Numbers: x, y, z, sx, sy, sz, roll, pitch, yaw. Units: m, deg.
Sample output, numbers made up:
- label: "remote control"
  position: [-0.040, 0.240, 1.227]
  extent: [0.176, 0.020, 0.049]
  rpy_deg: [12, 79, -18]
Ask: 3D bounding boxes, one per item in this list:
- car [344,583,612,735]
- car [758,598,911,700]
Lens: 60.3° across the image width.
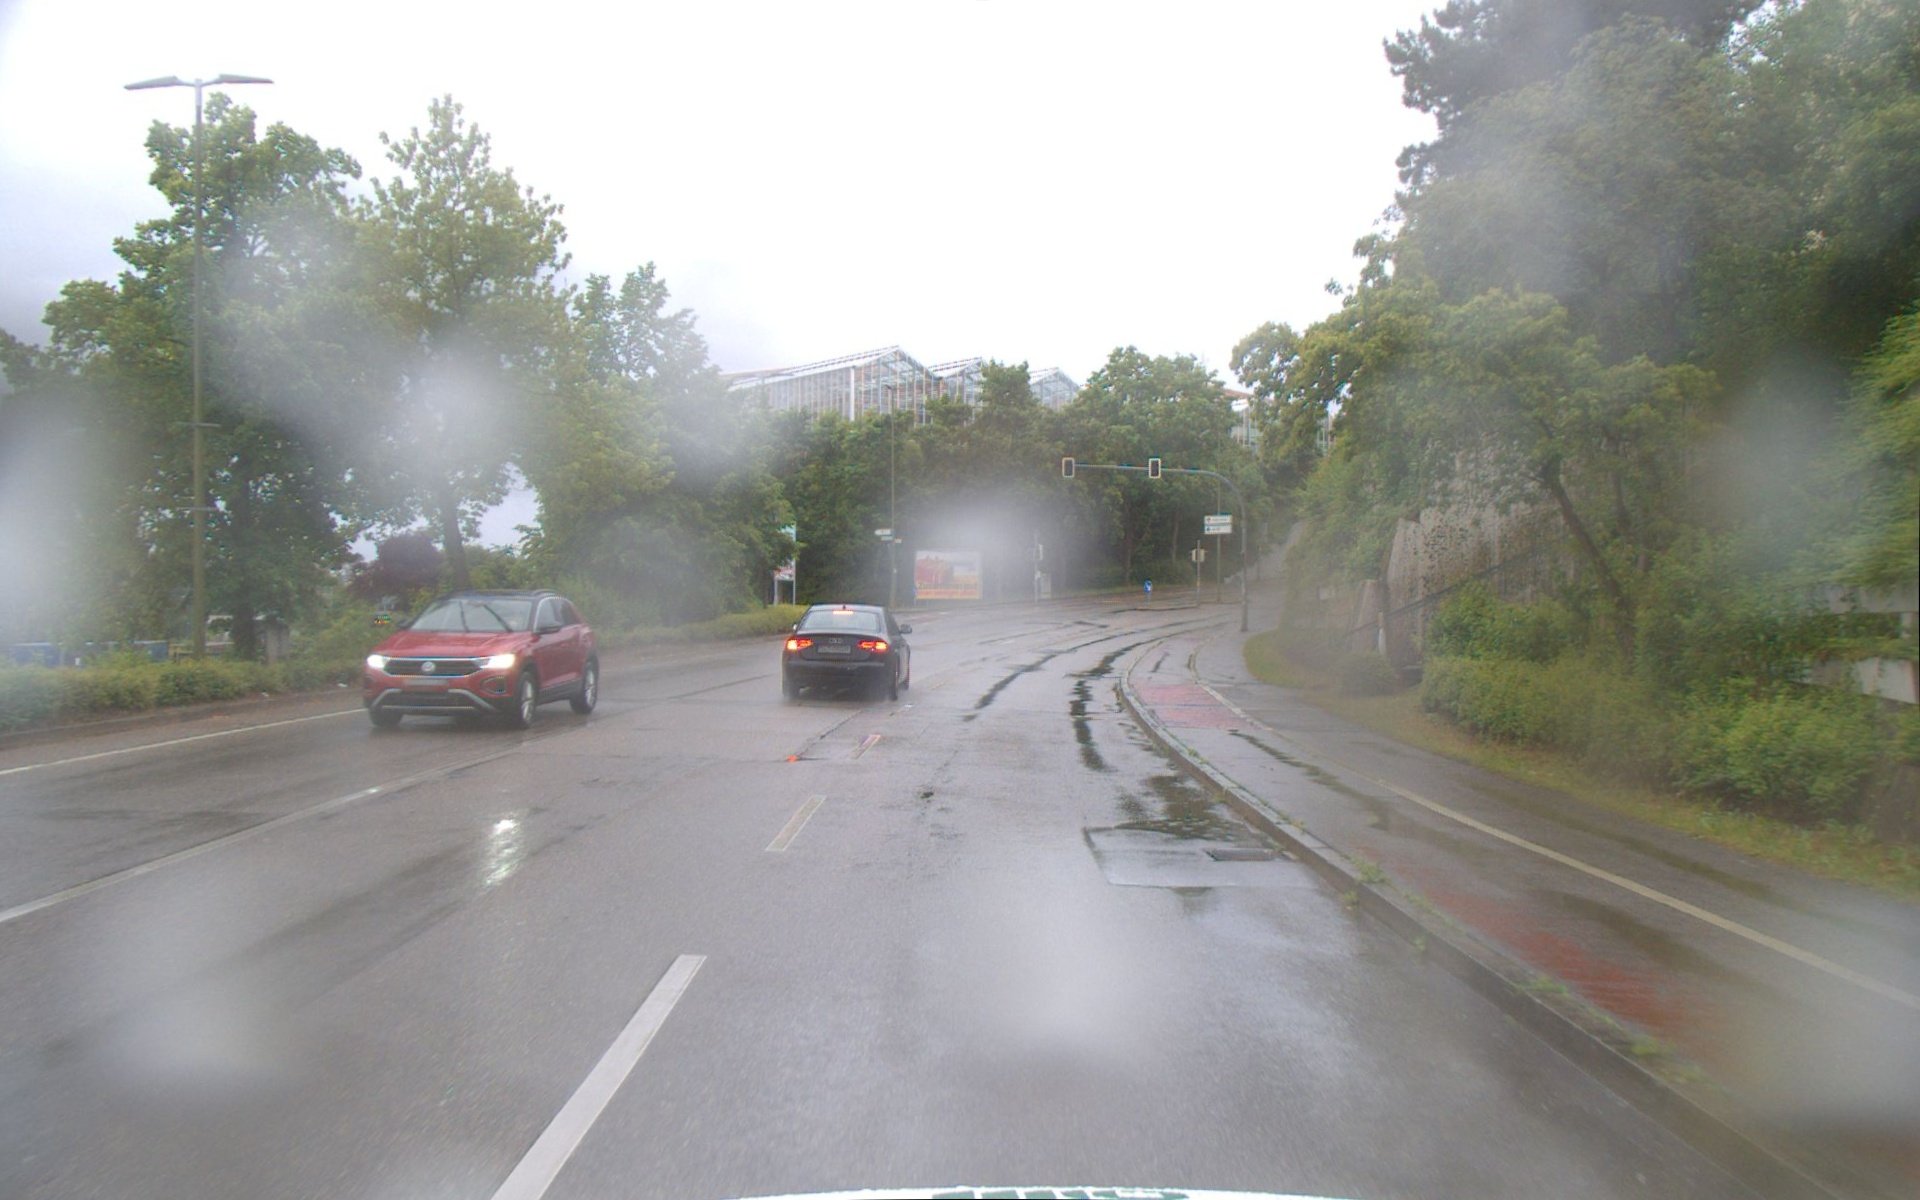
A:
- label: "car"
  position: [-5.496, 0.597, 19.392]
  extent: [1.717, 1.562, 4.002]
  rpy_deg: [1, 1, 4]
- label: "car"
  position: [-1.881, 0.699, 25.980]
  extent: [1.717, 1.420, 4.003]
  rpy_deg: [1, 0, 5]
